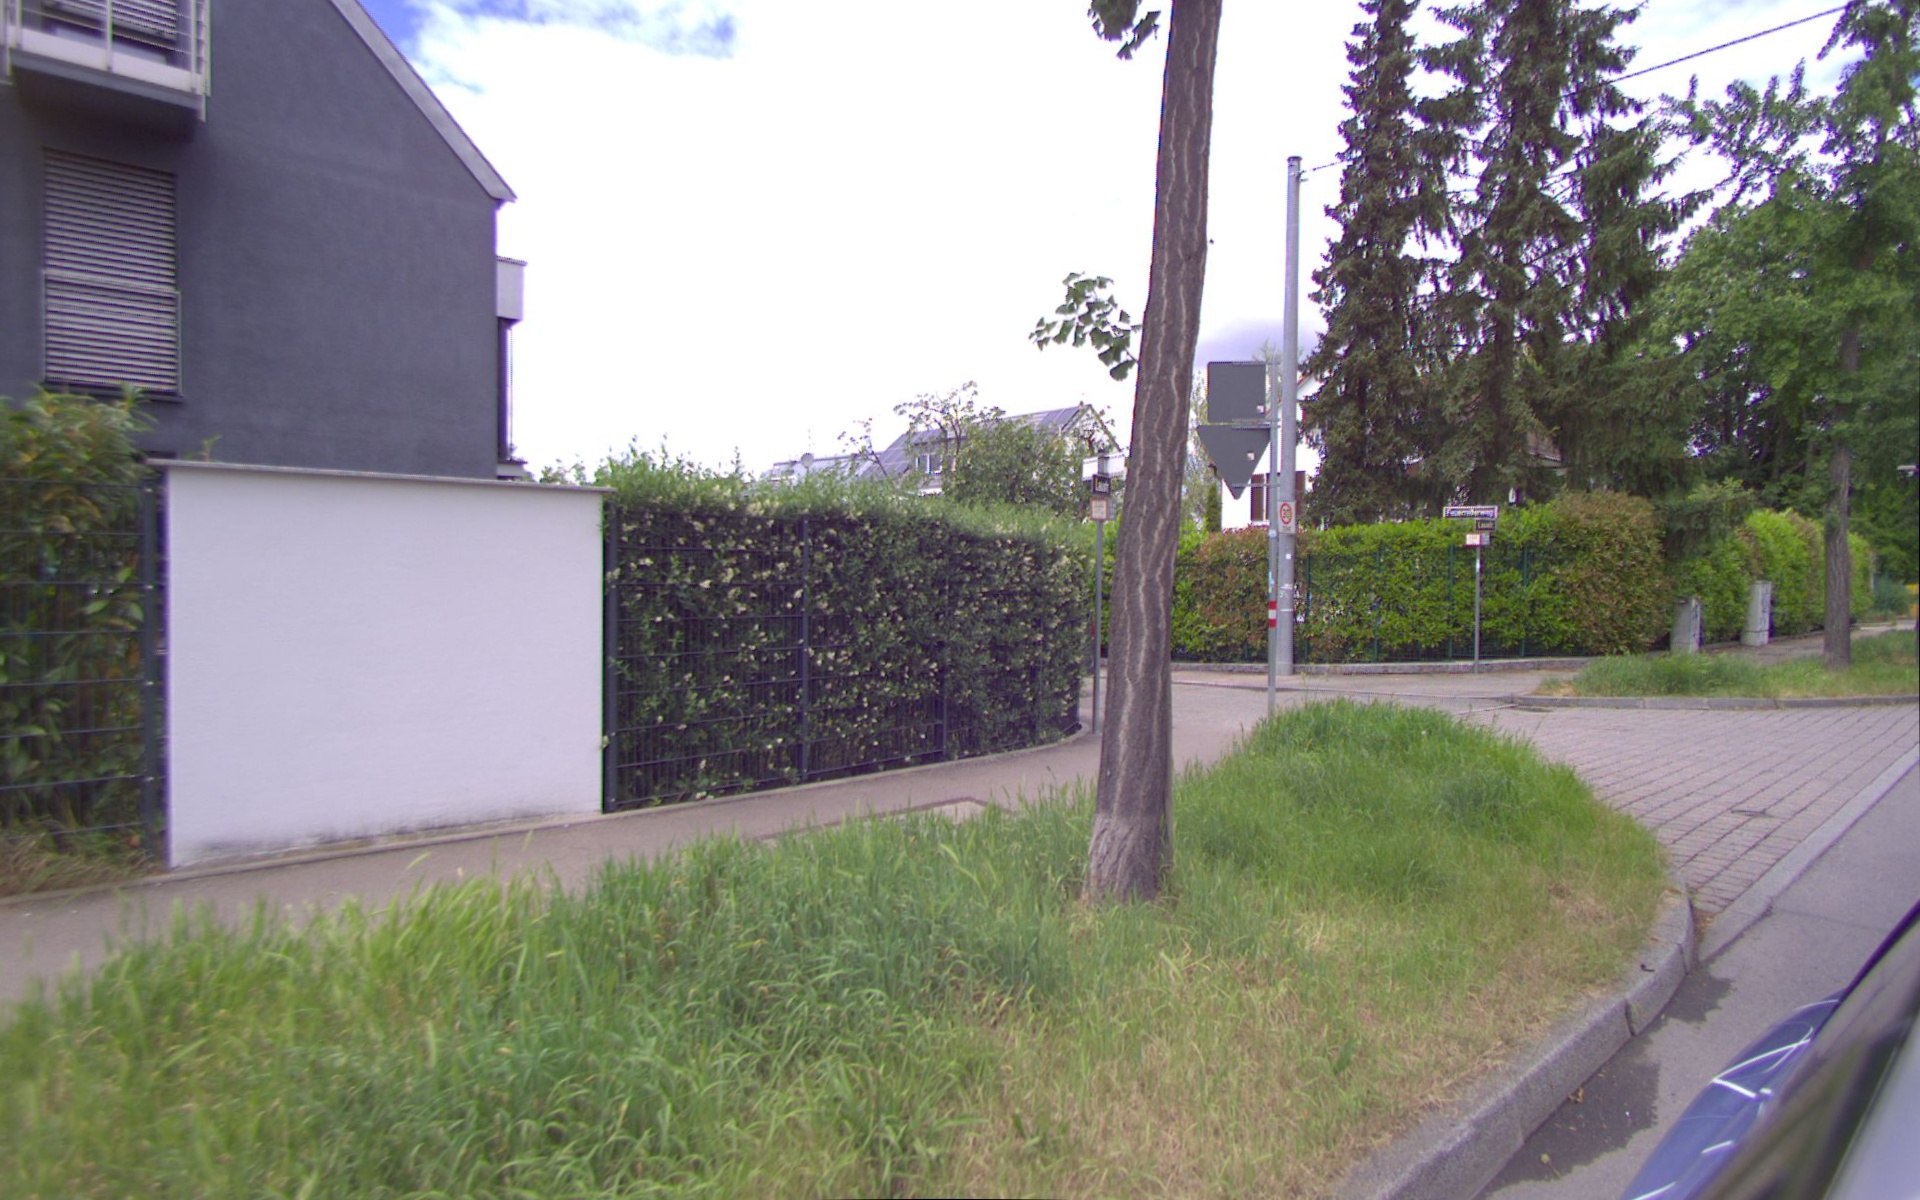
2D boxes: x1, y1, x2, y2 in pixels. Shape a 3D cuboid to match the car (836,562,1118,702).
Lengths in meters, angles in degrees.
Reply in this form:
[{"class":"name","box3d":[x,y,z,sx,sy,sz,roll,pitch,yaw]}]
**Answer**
[{"class":"car","box3d":[0.121,0.447,16.953,2.121,1.991,4.768,-1,0,-40]}]
